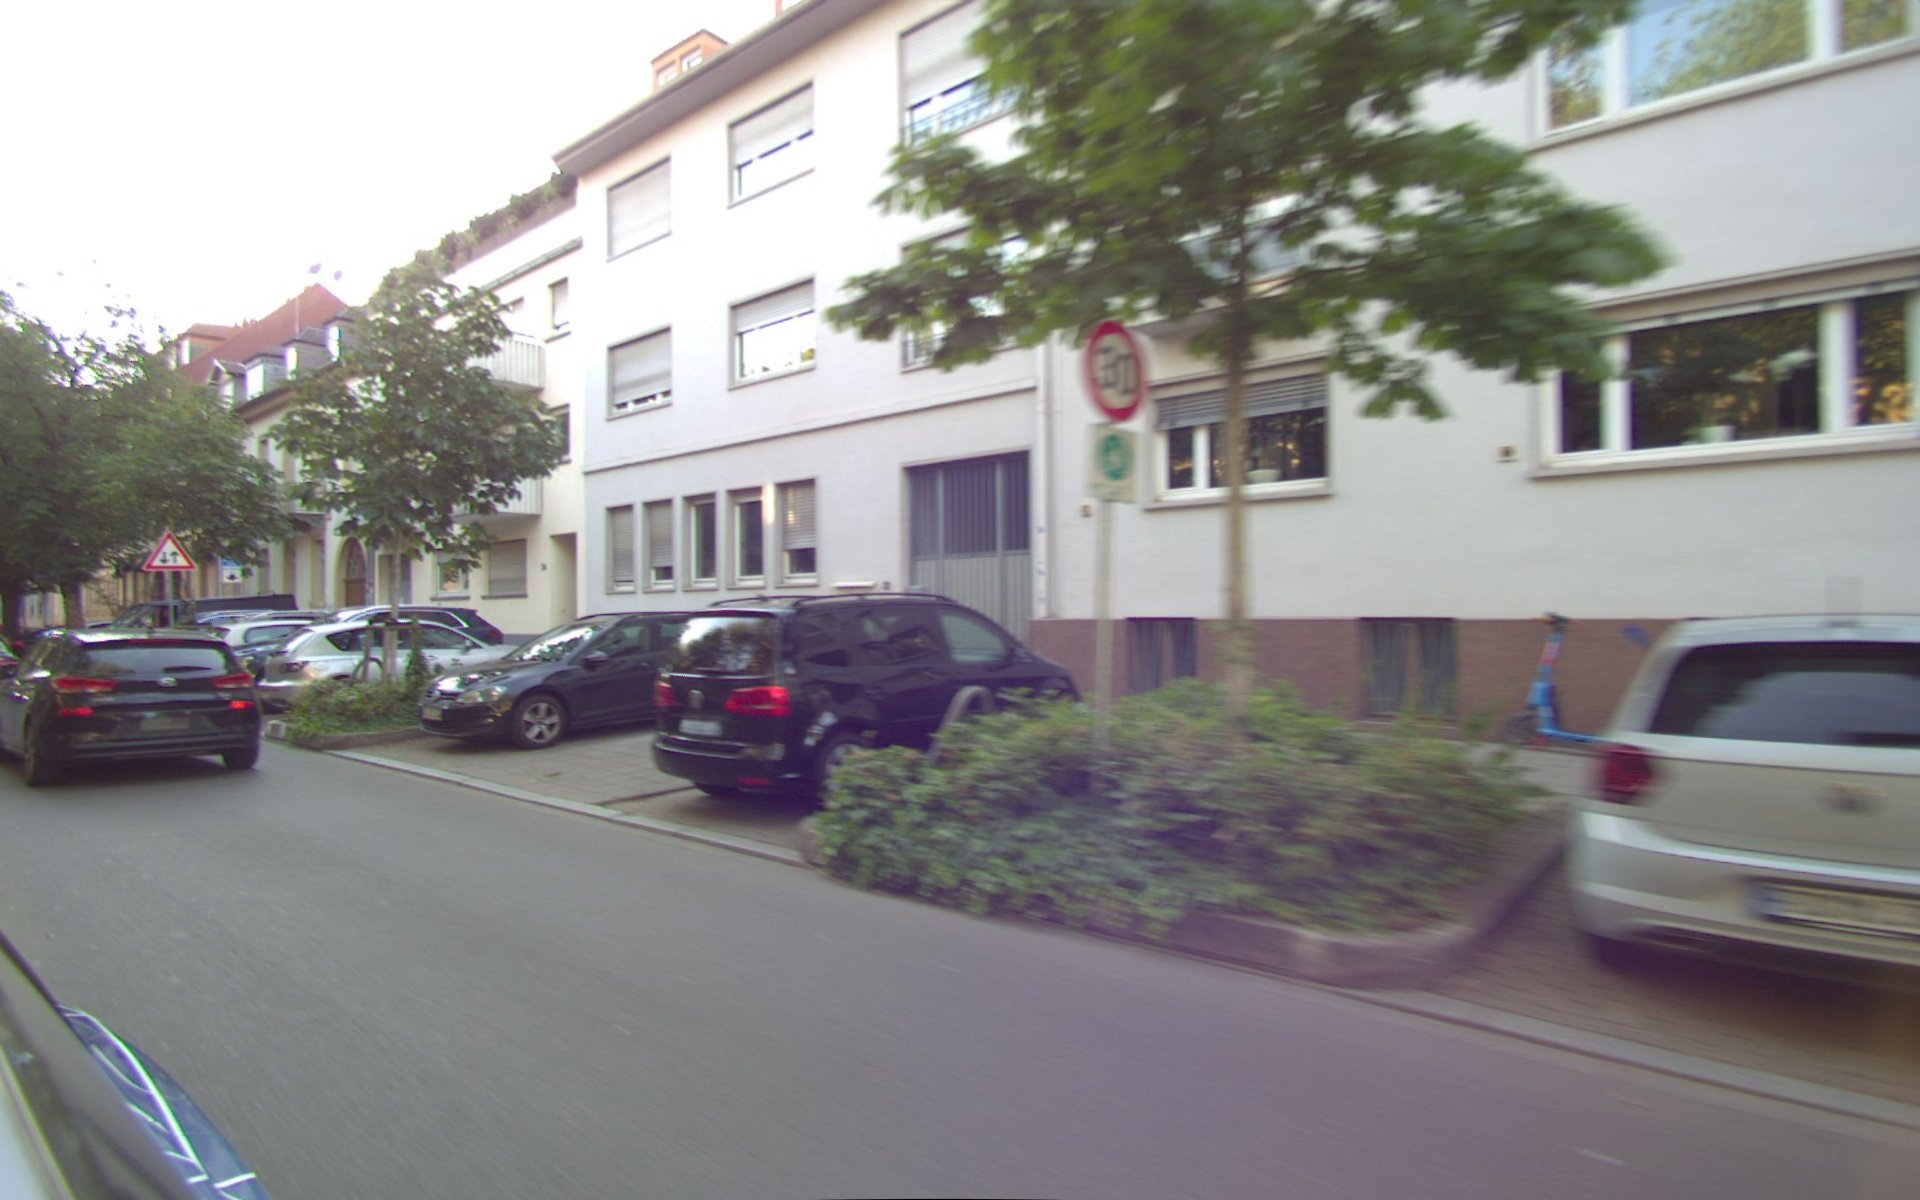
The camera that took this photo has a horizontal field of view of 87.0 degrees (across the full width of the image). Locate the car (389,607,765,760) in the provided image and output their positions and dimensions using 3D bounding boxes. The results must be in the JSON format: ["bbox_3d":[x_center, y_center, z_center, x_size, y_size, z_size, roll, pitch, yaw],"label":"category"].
[{"bbox_3d":[-4.614,0.903,12.649,1.754,1.451,4.032,-2,1,41],"label":"car"}]

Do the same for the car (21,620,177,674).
[{"bbox_3d":[-28.000,1.496,32.990,1.658,1.460,3.647,-2,1,40],"label":"car"}]

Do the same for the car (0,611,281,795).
[{"bbox_3d":[-8.947,0.931,10.714,4.272,1.561,1.857,-2,-2,41],"label":"car"}]

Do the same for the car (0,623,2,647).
[{"bbox_3d":[-59.125,2.166,59.797,1.671,1.416,3.455,-2,1,38],"label":"car"}]

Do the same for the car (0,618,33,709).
[{"bbox_3d":[-19.465,1.183,19.410,4.642,1.653,1.858,-1,-2,40],"label":"car"}]

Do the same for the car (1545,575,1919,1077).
[{"bbox_3d":[3.988,0.658,4.562,1.733,1.469,3.704,-2,1,39],"label":"car"}]

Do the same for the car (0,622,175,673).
[{"bbox_3d":[-29.925,1.567,34.745,1.715,1.417,4.384,0,2,37],"label":"car"}]

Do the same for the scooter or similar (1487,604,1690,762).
[{"bbox_3d":[5.470,0.675,8.854,0.509,1.271,1.421,-1,0,-45],"label":"scooter or similar"}]

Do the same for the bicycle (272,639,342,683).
[{"bbox_3d":[-14.088,1.297,21.819,1.812,0.880,0.739,-2,0,40],"label":"bicycle"}]

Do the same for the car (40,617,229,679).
[{"bbox_3d":[-25.789,1.441,31.725,1.771,1.550,4.310,0,2,40],"label":"car"}]

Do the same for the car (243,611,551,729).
[{"bbox_3d":[-8.968,1.015,16.345,1.781,1.505,3.984,-2,1,44],"label":"car"}]

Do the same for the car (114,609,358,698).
[{"bbox_3d":[-16.203,1.125,22.823,1.822,1.603,4.112,-1,2,40],"label":"car"}]

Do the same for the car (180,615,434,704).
[{"bbox_3d":[-12.662,1.100,19.788,1.853,1.462,3.806,-3,-1,40],"label":"car"}]

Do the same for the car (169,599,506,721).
[{"bbox_3d":[-10.827,0.928,17.883,2.155,1.778,4.619,-2,0,40],"label":"car"}]

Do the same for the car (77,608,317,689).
[{"bbox_3d":[-18.476,1.105,24.673,1.929,1.584,4.310,-1,2,40],"label":"car"}]

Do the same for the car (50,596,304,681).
[{"bbox_3d":[-20.410,0.938,26.568,2.188,2.006,4.940,-2,-1,40],"label":"car"}]

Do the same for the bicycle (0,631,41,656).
[{"bbox_3d":[-46.112,2.109,49.358,0.508,1.107,1.848,-1,1,34],"label":"bicycle"}]

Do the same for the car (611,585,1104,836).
[{"bbox_3d":[-0.688,0.725,8.861,1.935,1.644,4.050,-1,0,41],"label":"car"}]
